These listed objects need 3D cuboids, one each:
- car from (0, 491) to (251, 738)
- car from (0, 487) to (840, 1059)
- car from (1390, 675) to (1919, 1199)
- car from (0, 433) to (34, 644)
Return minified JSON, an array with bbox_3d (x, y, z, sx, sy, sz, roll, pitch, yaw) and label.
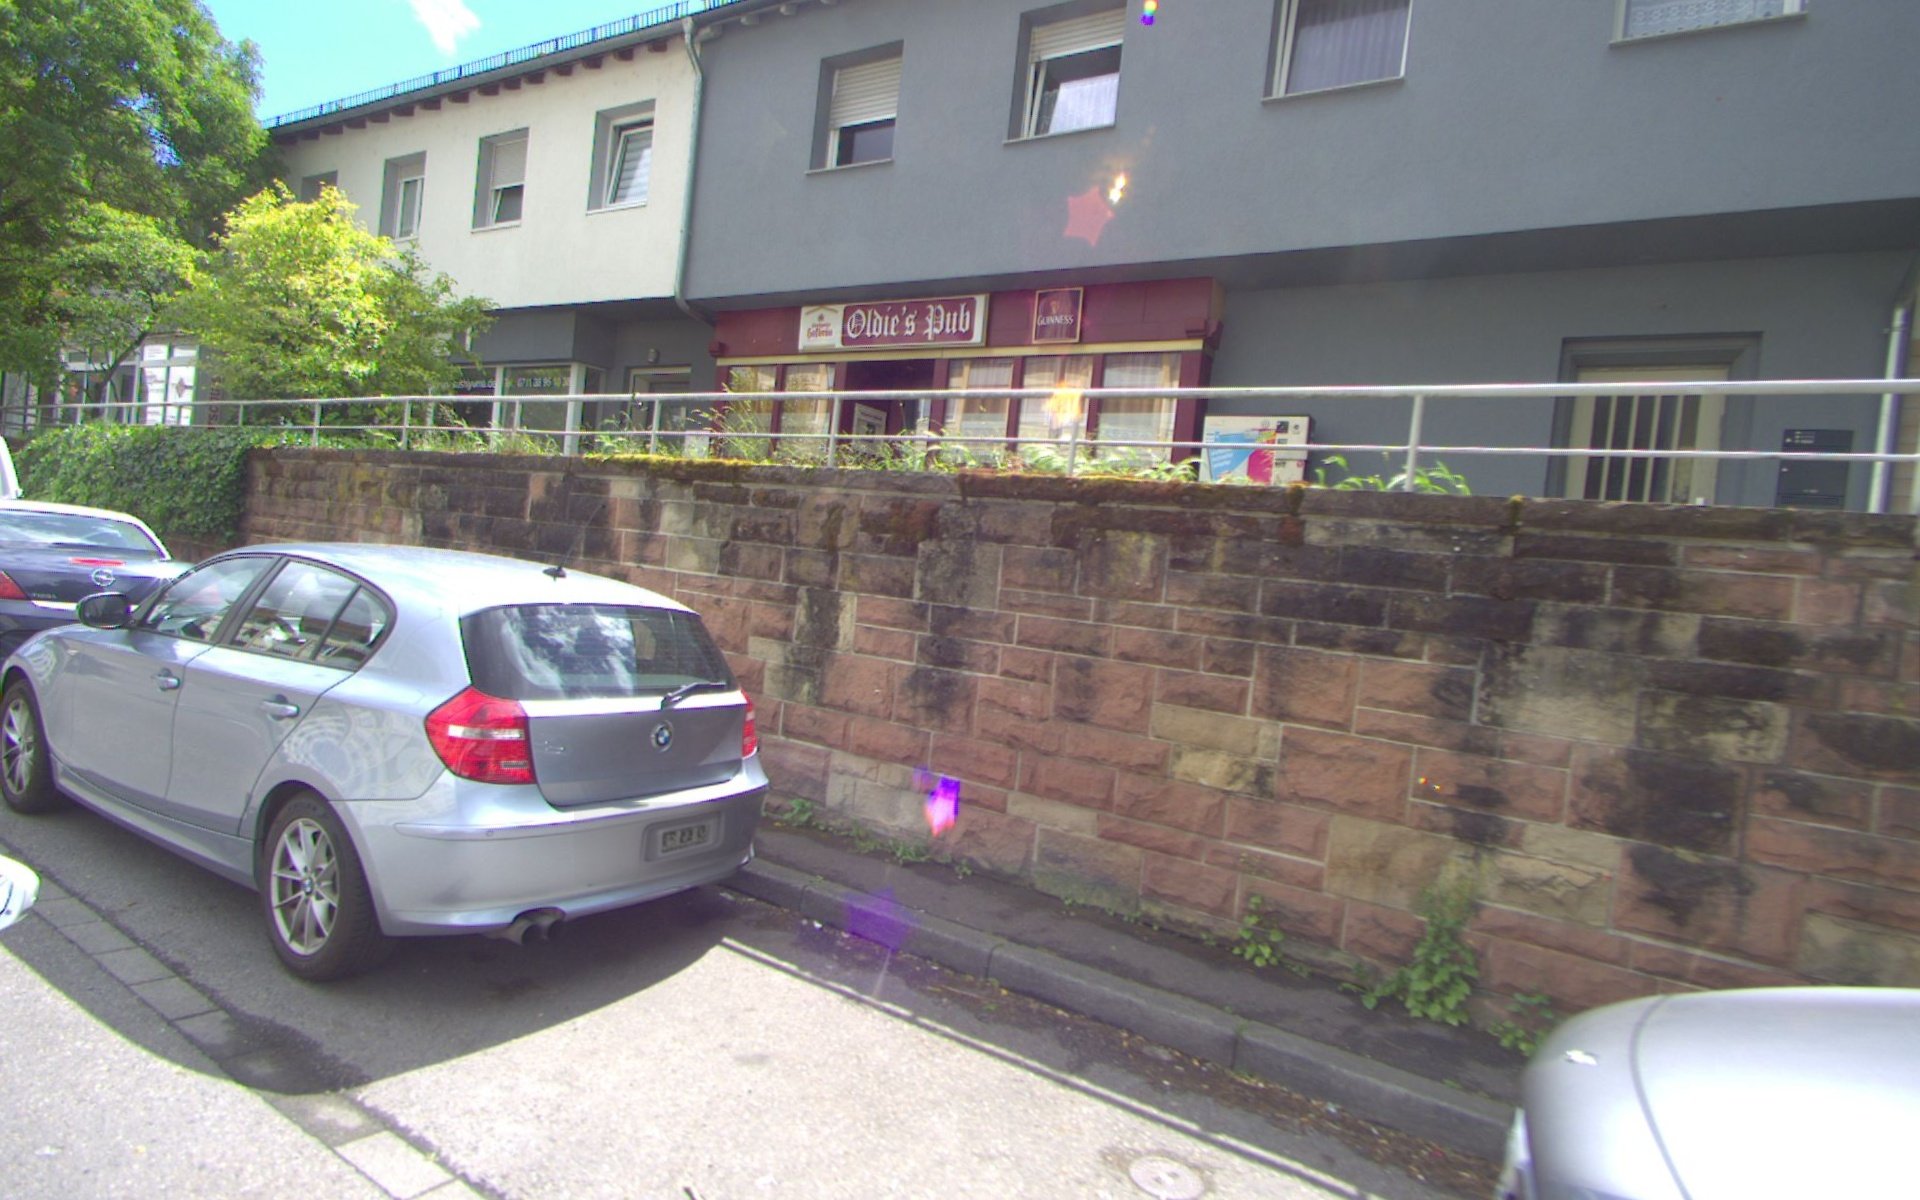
[{"bbox_3d":[-6.910,-0.048,7.321,3.590,1.423,1.621,7,1,34],"label":"car"},{"bbox_3d":[-2.708,0.410,4.569,4.000,1.423,1.692,7,1,31],"label":"car"},{"bbox_3d":[2.837,1.093,0.858,4.342,1.423,1.836,7,1,34],"label":"car"},{"bbox_3d":[-11.359,-0.855,10.148,4.514,1.994,1.800,7,2,33],"label":"car"}]
